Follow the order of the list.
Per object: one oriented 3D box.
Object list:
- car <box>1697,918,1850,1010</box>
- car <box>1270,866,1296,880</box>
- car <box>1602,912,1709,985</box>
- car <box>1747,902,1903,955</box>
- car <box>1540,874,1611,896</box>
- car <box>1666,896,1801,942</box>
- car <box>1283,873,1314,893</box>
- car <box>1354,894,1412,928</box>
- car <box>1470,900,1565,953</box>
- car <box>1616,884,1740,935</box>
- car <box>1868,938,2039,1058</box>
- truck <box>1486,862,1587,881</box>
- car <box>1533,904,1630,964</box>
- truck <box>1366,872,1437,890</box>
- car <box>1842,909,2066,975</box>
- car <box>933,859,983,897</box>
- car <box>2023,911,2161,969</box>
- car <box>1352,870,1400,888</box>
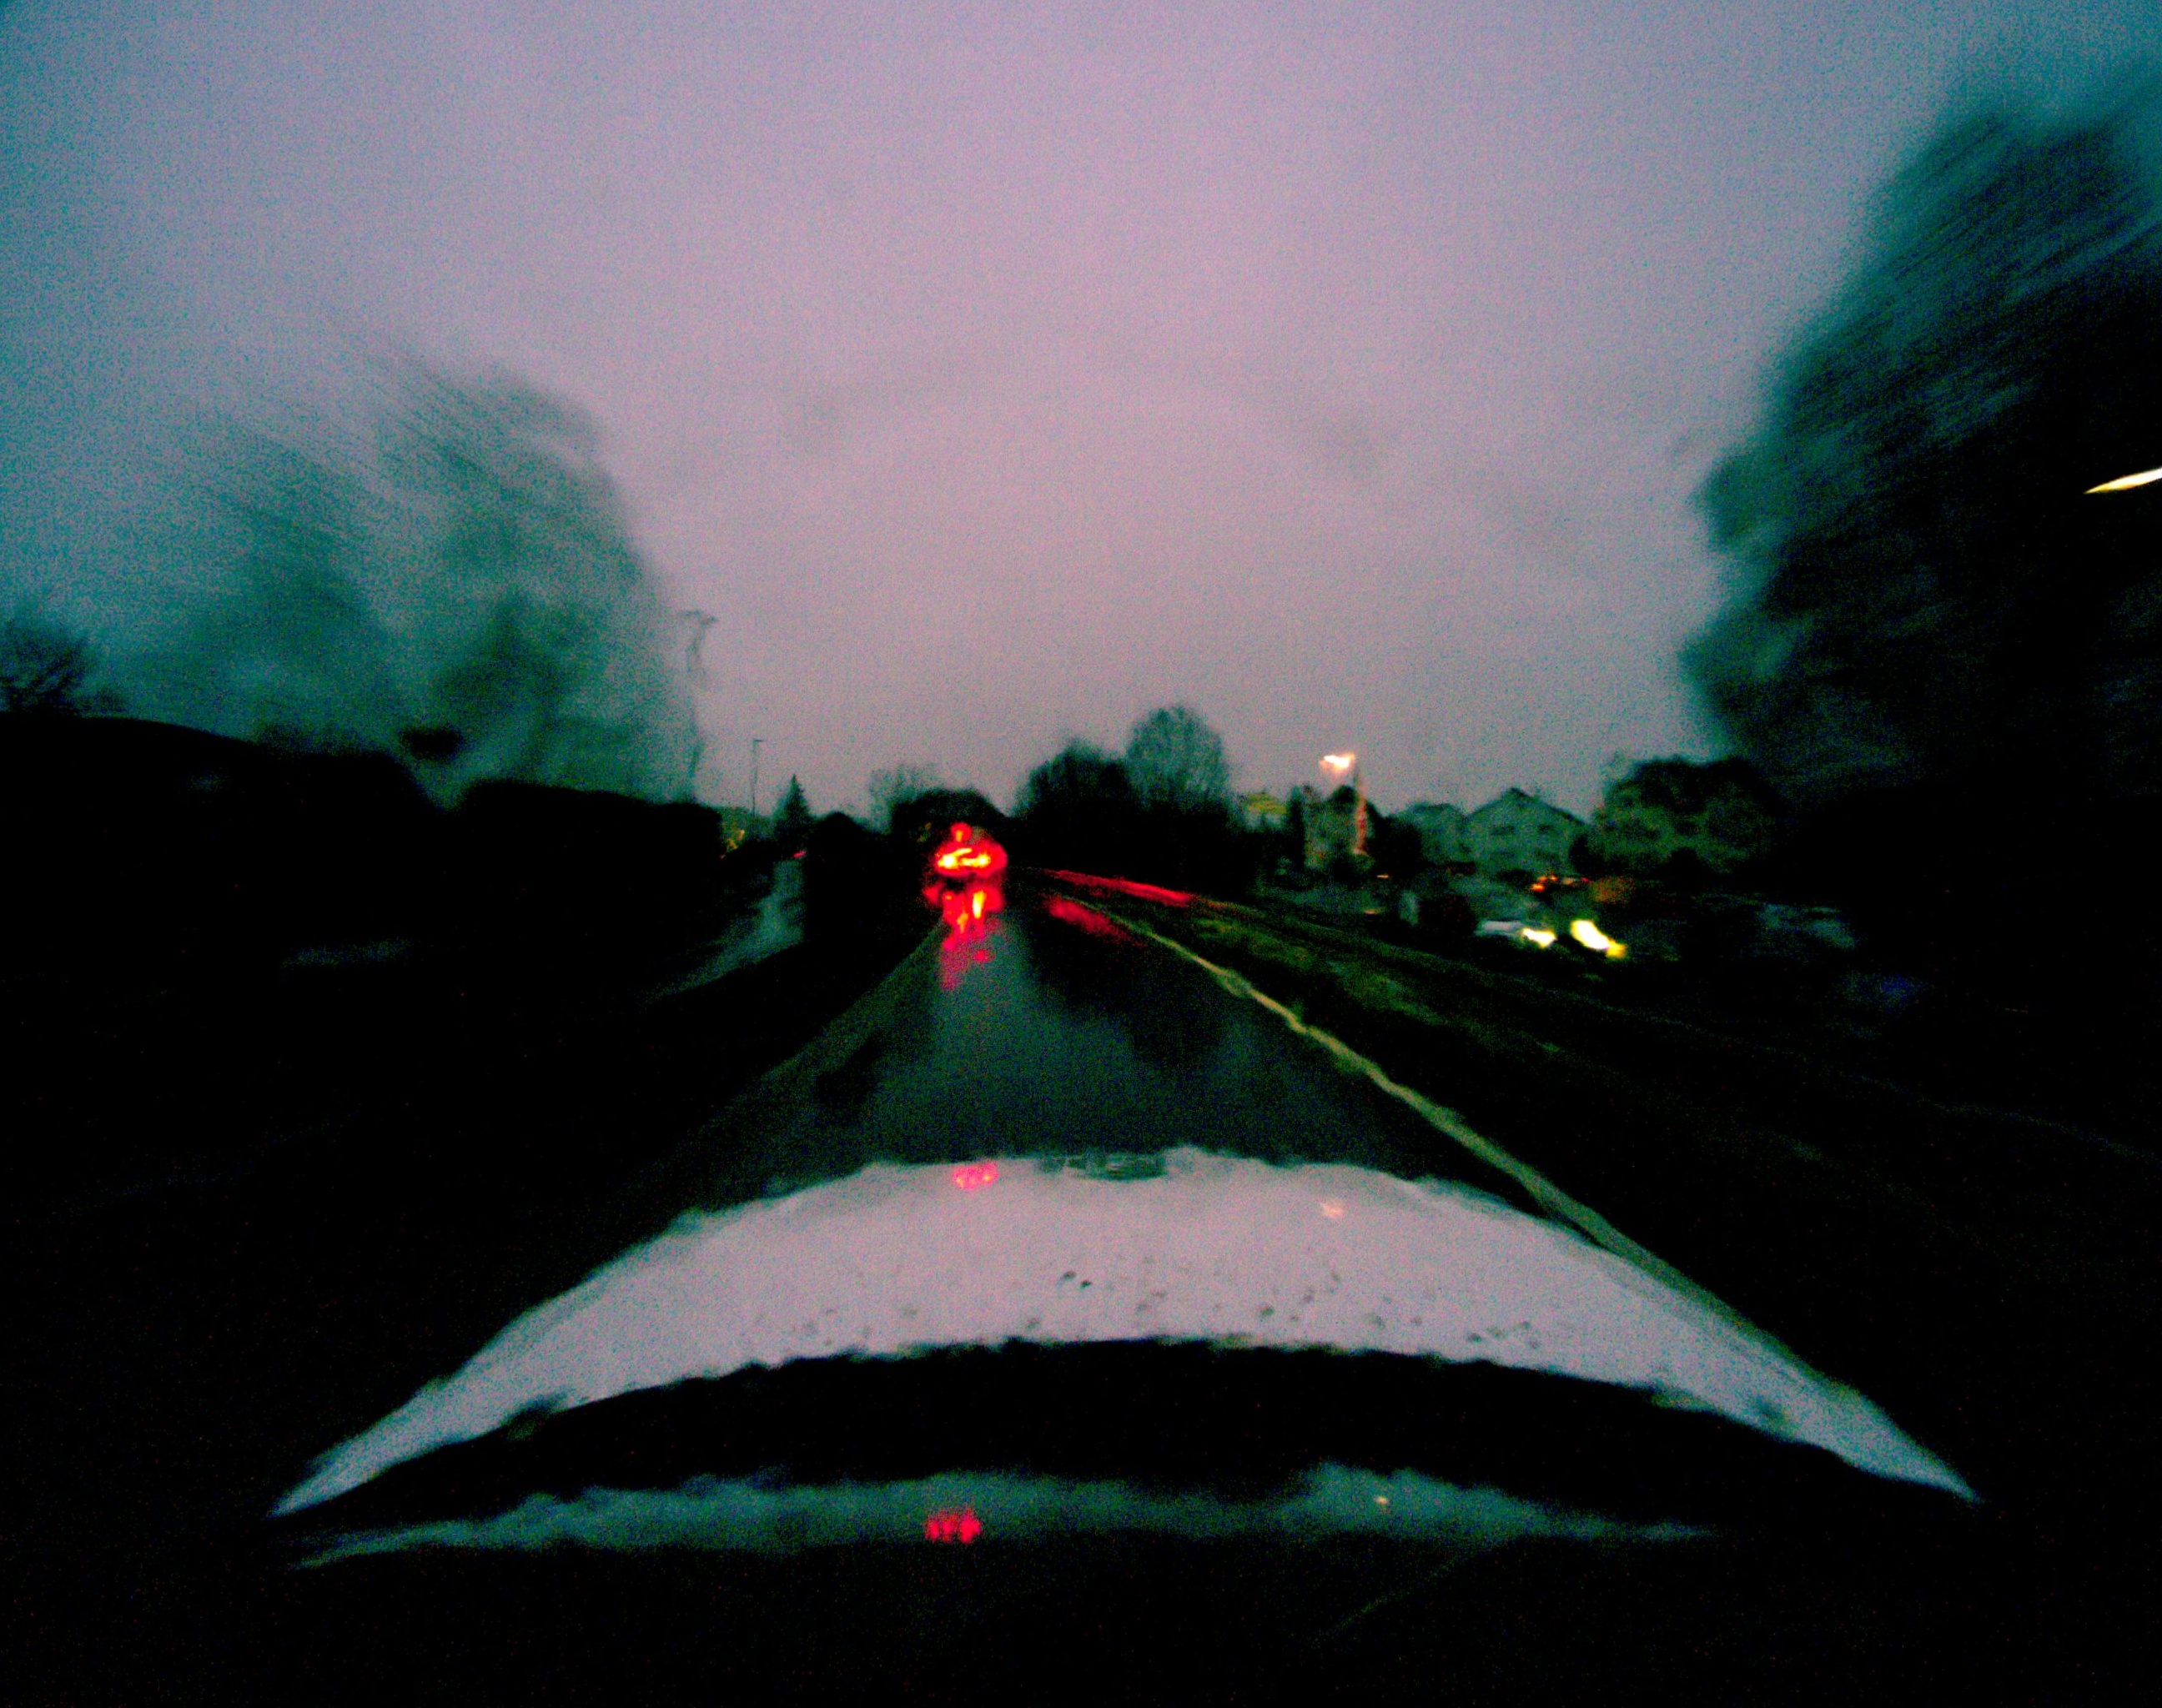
[{"bbox_3d":[15.202,2.268,17.791,4.612,1.455,1.908,1,-1,-42],"label":"car"},{"bbox_3d":[23.278,2.151,93.865,1.891,1.486,4.024,-1,-1,29],"label":"car"},{"bbox_3d":[14.991,2.368,21.170,1.611,1.420,4.023,-1,0,45],"label":"car"},{"bbox_3d":[24.904,2.434,27.353,1.577,1.430,3.716,0,0,-41],"label":"car"},{"bbox_3d":[31.635,1.957,52.213,3.803,1.323,1.785,-1,0,28],"label":"car"},{"bbox_3d":[24.684,2.429,30.925,1.576,1.430,3.719,0,0,-37],"label":"car"},{"bbox_3d":[17.690,2.353,66.426,1.926,1.547,4.008,-1,0,7],"label":"car"},{"bbox_3d":[13.941,2.601,37.498,1.373,1.313,3.229,-1,0,43],"label":"car"},{"bbox_3d":[14.882,2.386,27.705,1.775,1.439,4.023,-1,0,45],"label":"car"},{"bbox_3d":[24.969,2.261,34.143,3.985,1.868,1.733,0,0,45],"label":"car"},{"bbox_3d":[15.710,2.442,14.669,4.202,1.396,1.881,-1,-1,-42],"label":"car"},{"bbox_3d":[44.741,1.705,80.214,8.553,1.815,2.430,-1,0,30],"label":"truck"},{"bbox_3d":[15.042,2.322,24.392,1.611,1.420,4.023,-1,0,45],"label":"car"},{"bbox_3d":[28.979,2.430,73.681,5.716,1.547,1.955,-1,0,28],"label":"truck"},{"bbox_3d":[24.793,2.434,23.333,1.756,1.425,4.264,0,0,-43],"label":"car"},{"bbox_3d":[-6.020,1.135,39.663,1.948,1.718,3.979,1,-1,-15],"label":"car"},{"bbox_3d":[29.127,2.381,22.572,3.791,1.352,1.578,0,0,44],"label":"car"},{"bbox_3d":[27.890,2.359,77.029,3.949,1.661,1.955,-1,0,28],"label":"car"}]
